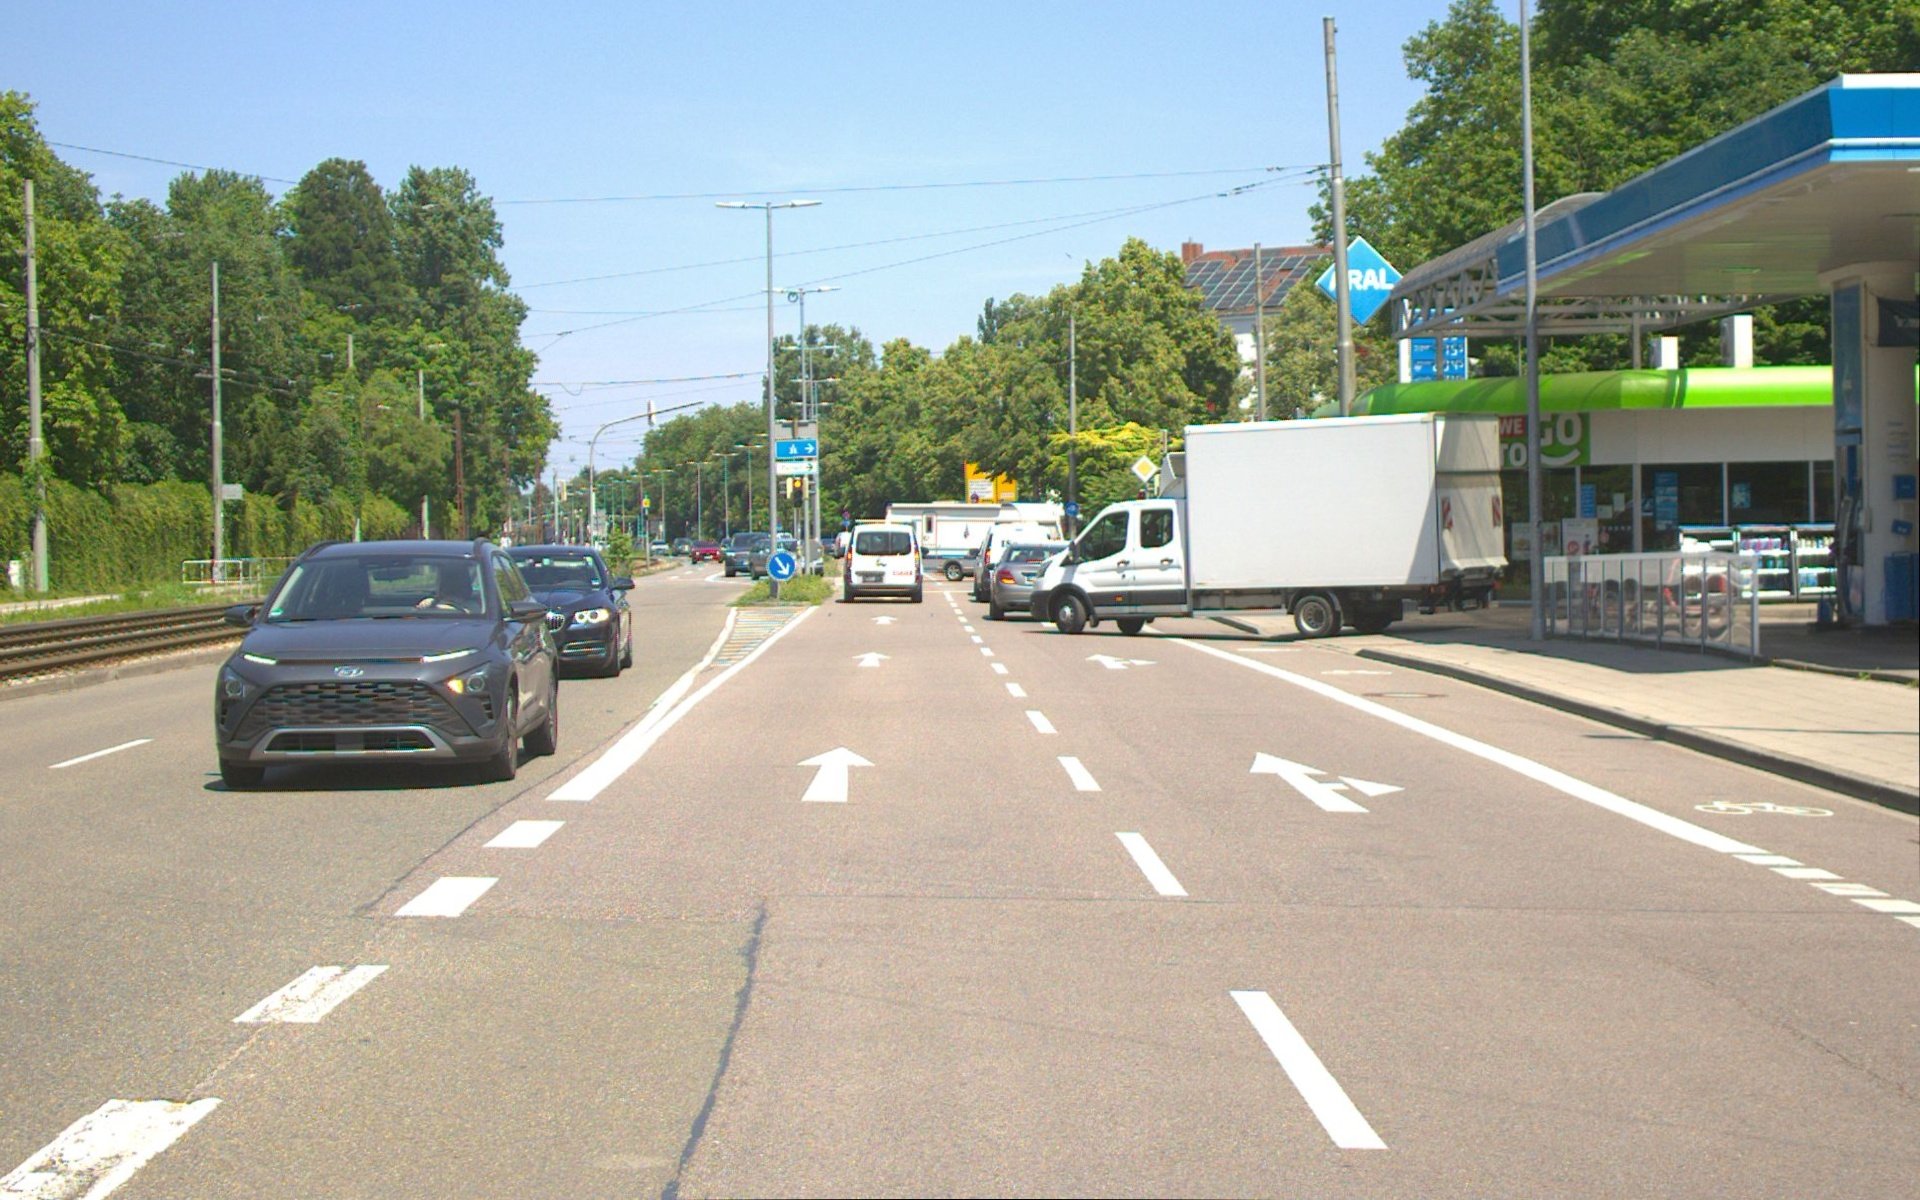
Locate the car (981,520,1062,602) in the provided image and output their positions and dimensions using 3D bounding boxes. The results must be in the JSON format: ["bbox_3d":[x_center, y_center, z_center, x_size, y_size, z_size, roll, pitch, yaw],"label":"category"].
[{"bbox_3d":[1.396,-0.905,79.252,1.710,1.824,4.014,-1,1,-1],"label":"car"}]

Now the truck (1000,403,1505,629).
[{"bbox_3d":[4.564,-1.286,54.642,7.823,3.380,2.423,0,1,35],"label":"truck"}]

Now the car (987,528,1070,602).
[{"bbox_3d":[1.368,-0.731,69.714,1.607,1.446,3.521,0,1,0],"label":"car"}]

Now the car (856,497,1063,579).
[{"bbox_3d":[-0.039,-1.956,108.280,6.215,2.508,2.698,0,1,39],"label":"car"}]

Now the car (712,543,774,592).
[{"bbox_3d":[-8.488,-1.284,134.064,1.993,1.823,4.541,-1,1,-9],"label":"car"}]

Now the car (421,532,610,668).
[{"bbox_3d":[-4.838,-0.041,37.914,1.793,1.394,4.449,-1,1,-4],"label":"car"}]

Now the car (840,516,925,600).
[{"bbox_3d":[-1.768,-0.963,77.977,1.866,1.829,3.849,1,1,-2],"label":"car"}]

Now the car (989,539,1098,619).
[{"bbox_3d":[1.526,-0.417,64.287,1.770,1.415,4.001,-1,1,-2],"label":"car"}]

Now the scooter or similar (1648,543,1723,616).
[{"bbox_3d":[11.798,-0.335,55.936,1.135,1.172,0.384,-1,1,0],"label":"scooter or similar"}]

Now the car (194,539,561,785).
[{"bbox_3d":[-3.630,0.350,22.086,1.713,1.417,4.142,-1,0,-1],"label":"car"}]
